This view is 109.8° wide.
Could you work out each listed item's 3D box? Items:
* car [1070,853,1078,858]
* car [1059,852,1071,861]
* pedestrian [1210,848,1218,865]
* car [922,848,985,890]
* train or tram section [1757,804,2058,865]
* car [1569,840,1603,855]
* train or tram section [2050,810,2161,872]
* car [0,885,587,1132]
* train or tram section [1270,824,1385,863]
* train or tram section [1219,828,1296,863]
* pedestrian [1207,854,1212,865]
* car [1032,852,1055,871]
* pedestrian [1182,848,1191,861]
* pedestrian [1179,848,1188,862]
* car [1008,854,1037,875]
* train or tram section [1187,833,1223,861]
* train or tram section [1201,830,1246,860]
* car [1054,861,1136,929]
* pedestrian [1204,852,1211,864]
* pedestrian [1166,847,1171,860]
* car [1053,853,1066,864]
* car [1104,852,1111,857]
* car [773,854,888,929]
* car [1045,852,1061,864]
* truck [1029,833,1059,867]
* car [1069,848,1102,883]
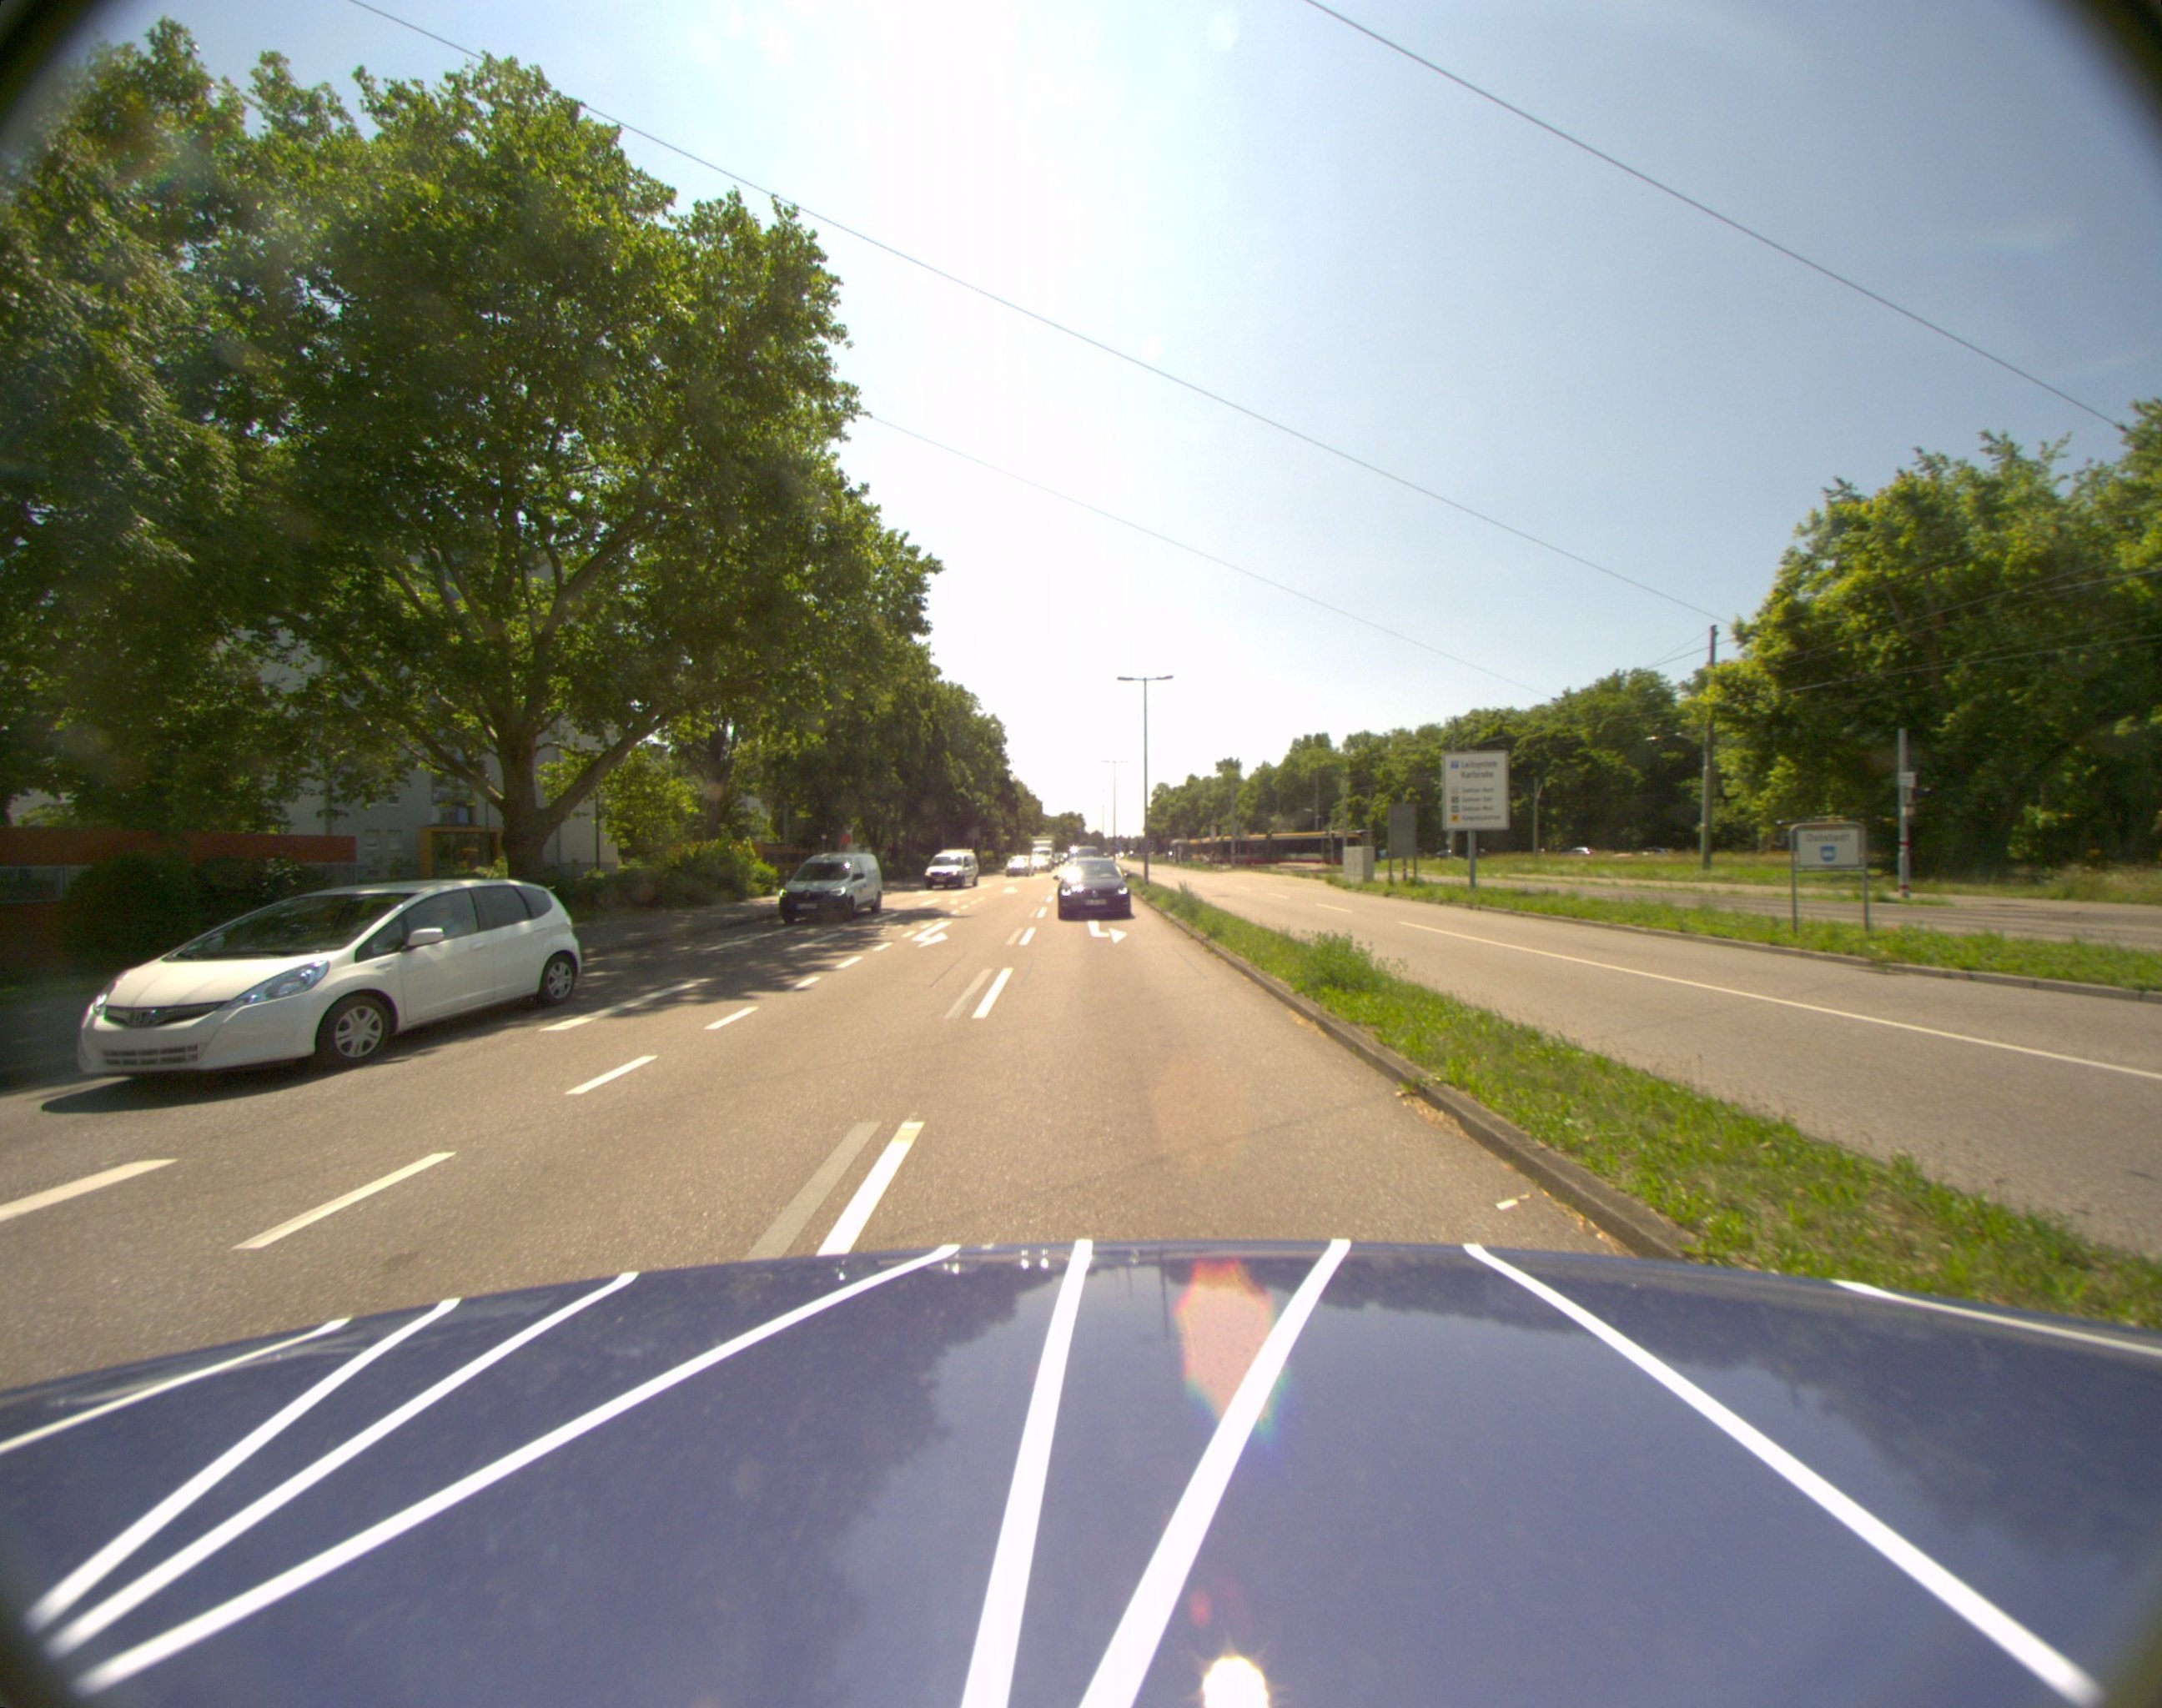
[{"bbox_3d":[-1.891,0.407,208.417,1.745,1.382,3.888,-1,0,4],"label":"car"},{"bbox_3d":[-2.439,0.386,116.591,1.746,1.382,3.887,-1,0,1],"label":"car"},{"bbox_3d":[12.774,0.254,72.978,0.536,1.556,0.582,-2,1,-1],"label":"pedestrian"},{"bbox_3d":[-6.202,0.677,37.632,1.809,1.845,5.084,-2,0,5],"label":"car"},{"bbox_3d":[54.079,-1.125,50.514,3.052,3.446,13.231,-3,0,-39],"label":"train or tram section"},{"bbox_3d":[58.677,-0.740,88.317,1.389,1.586,3.068,-2,0,-13],"label":"car"},{"bbox_3d":[61.807,-0.772,41.693,3.050,3.446,10.203,-2,0,-26],"label":"train or tram section"},{"bbox_3d":[-6.811,1.147,7.196,1.725,1.480,3.877,-2,0,-1],"label":"car"},{"bbox_3d":[24.758,-0.926,77.360,3.058,3.603,12.425,-2,0,-28],"label":"train or tram section"},{"bbox_3d":[20.251,-0.896,88.238,3.055,3.603,12.435,-2,0,-15],"label":"train or tram section"},{"bbox_3d":[12.450,0.497,73.541,0.384,1.052,0.377,-2,1,-2],"label":"pedestrian"},{"bbox_3d":[-3.248,0.636,66.337,1.618,1.373,4.113,-2,2,1],"label":"car"},{"bbox_3d":[12.296,0.062,88.853,0.837,1.499,0.879,-2,1,-2],"label":"pedestrian"},{"bbox_3d":[12.111,0.123,89.849,0.933,1.537,0.985,-2,1,-2],"label":"pedestrian"},{"bbox_3d":[-4.237,0.748,55.472,1.625,1.433,3.499,-2,0,4],"label":"car"},{"bbox_3d":[18.361,-0.998,113.382,3.051,3.745,13.260,-2,0,0],"label":"train or tram section"},{"bbox_3d":[18.508,-1.129,99.790,3.052,3.603,13.895,-2,0,-1],"label":"train or tram section"},{"bbox_3d":[0.331,0.904,18.462,1.746,1.382,3.887,-1,0,1],"label":"car"},{"bbox_3d":[12.328,0.381,74.070,0.582,1.182,0.536,-2,1,-3],"label":"pedestrian"},{"bbox_3d":[12.527,-0.037,108.577,0.633,1.781,0.776,-2,1,-2],"label":"pedestrian"},{"bbox_3d":[-2.915,0.600,103.526,1.618,1.373,4.114,-2,0,1],"label":"car"},{"bbox_3d":[7.290,0.095,211.874,1.773,1.496,3.721,-1,0,4],"label":"car"},{"bbox_3d":[-6.660,0.909,20.728,1.714,1.737,4.426,-2,0,-1],"label":"car"},{"bbox_3d":[-3.274,0.454,89.200,1.746,1.382,3.887,-1,0,1],"label":"car"},{"bbox_3d":[-3.765,-0.400,77.836,2.490,3.277,6.605,-1,0,2],"label":"truck"},{"bbox_3d":[0.287,0.587,42.849,1.746,1.840,3.887,-1,1,1],"label":"car"}]
